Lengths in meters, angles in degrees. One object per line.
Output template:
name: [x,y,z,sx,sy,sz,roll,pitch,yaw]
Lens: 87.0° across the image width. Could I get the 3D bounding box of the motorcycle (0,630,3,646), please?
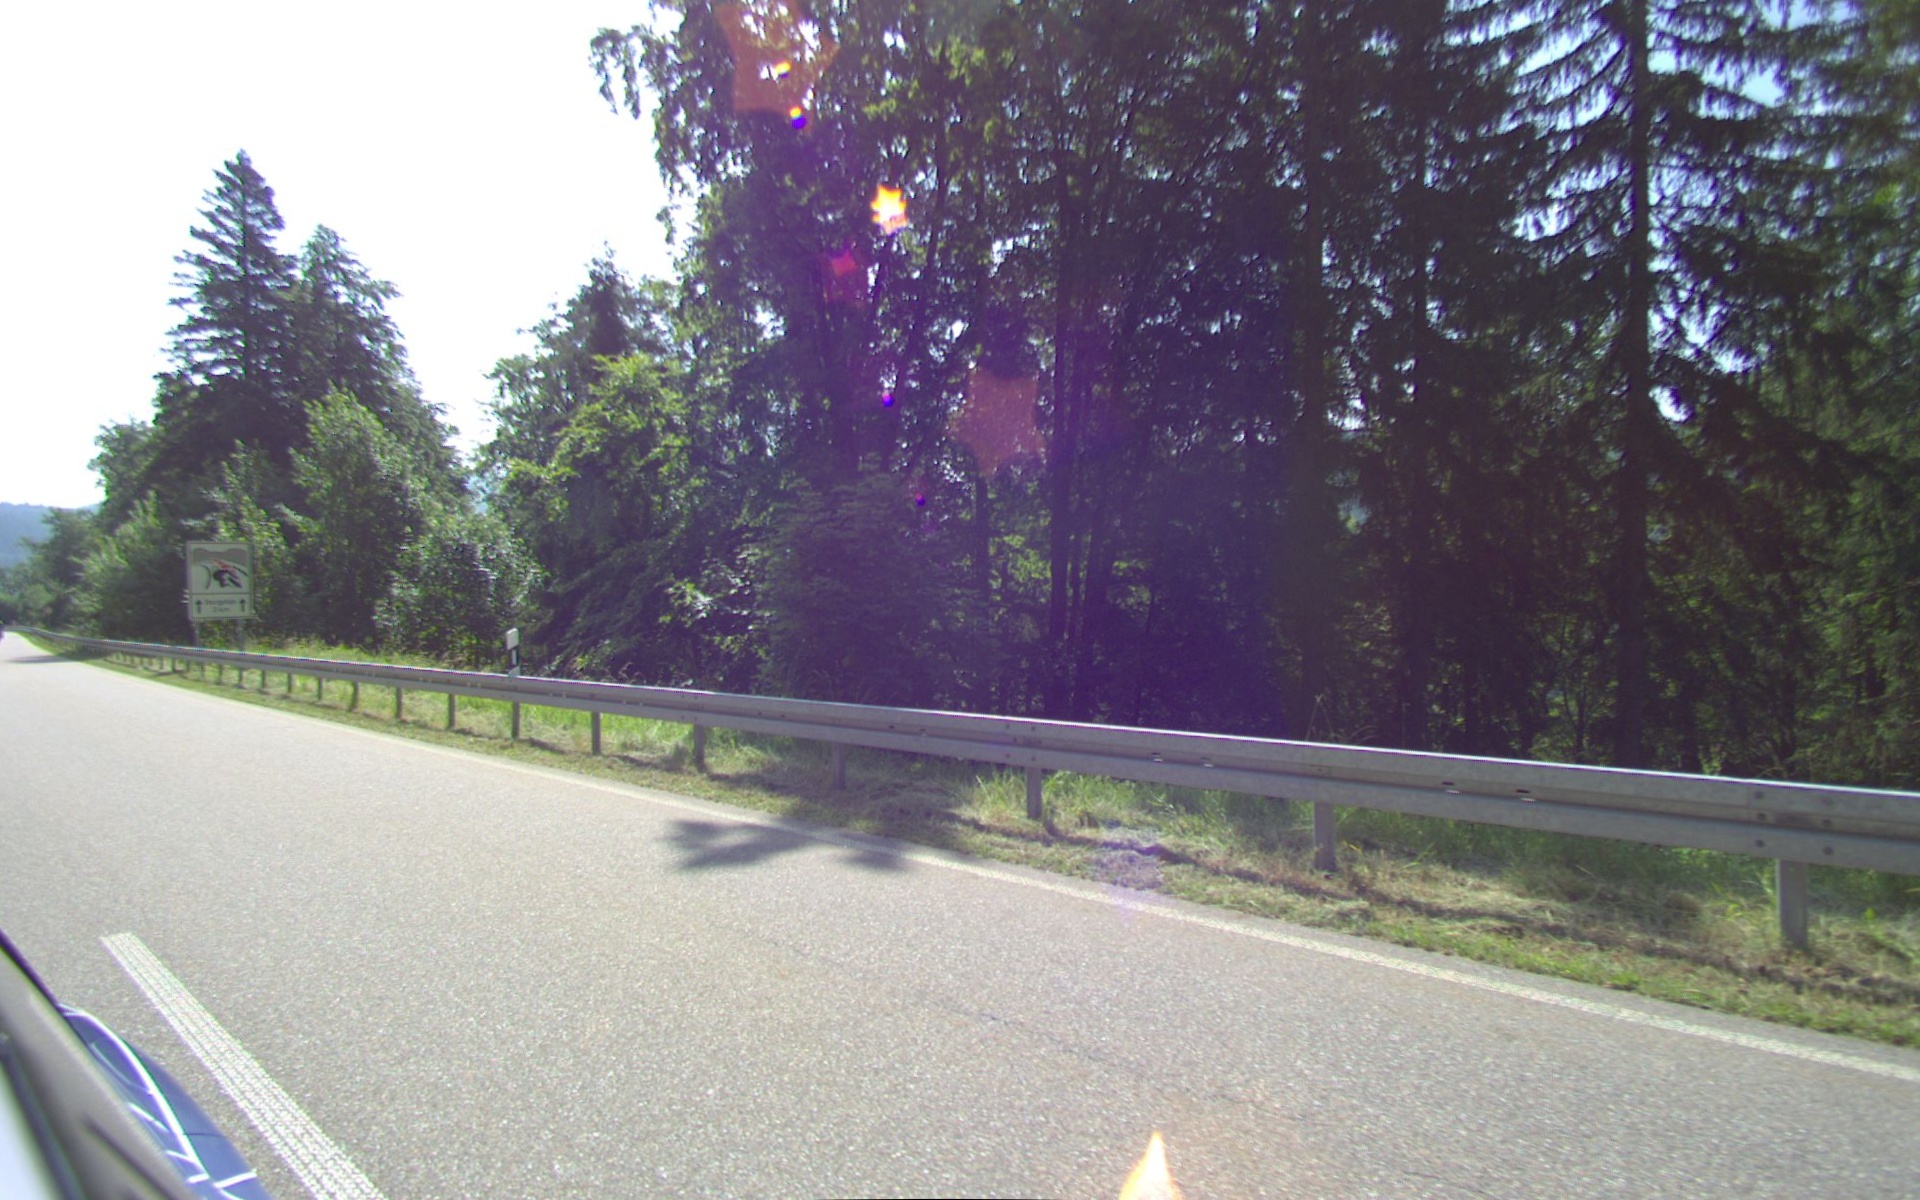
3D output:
motorcycle: [-64.939,2.556,67.952,0.972,1.079,1.965,0,-1,-42]
